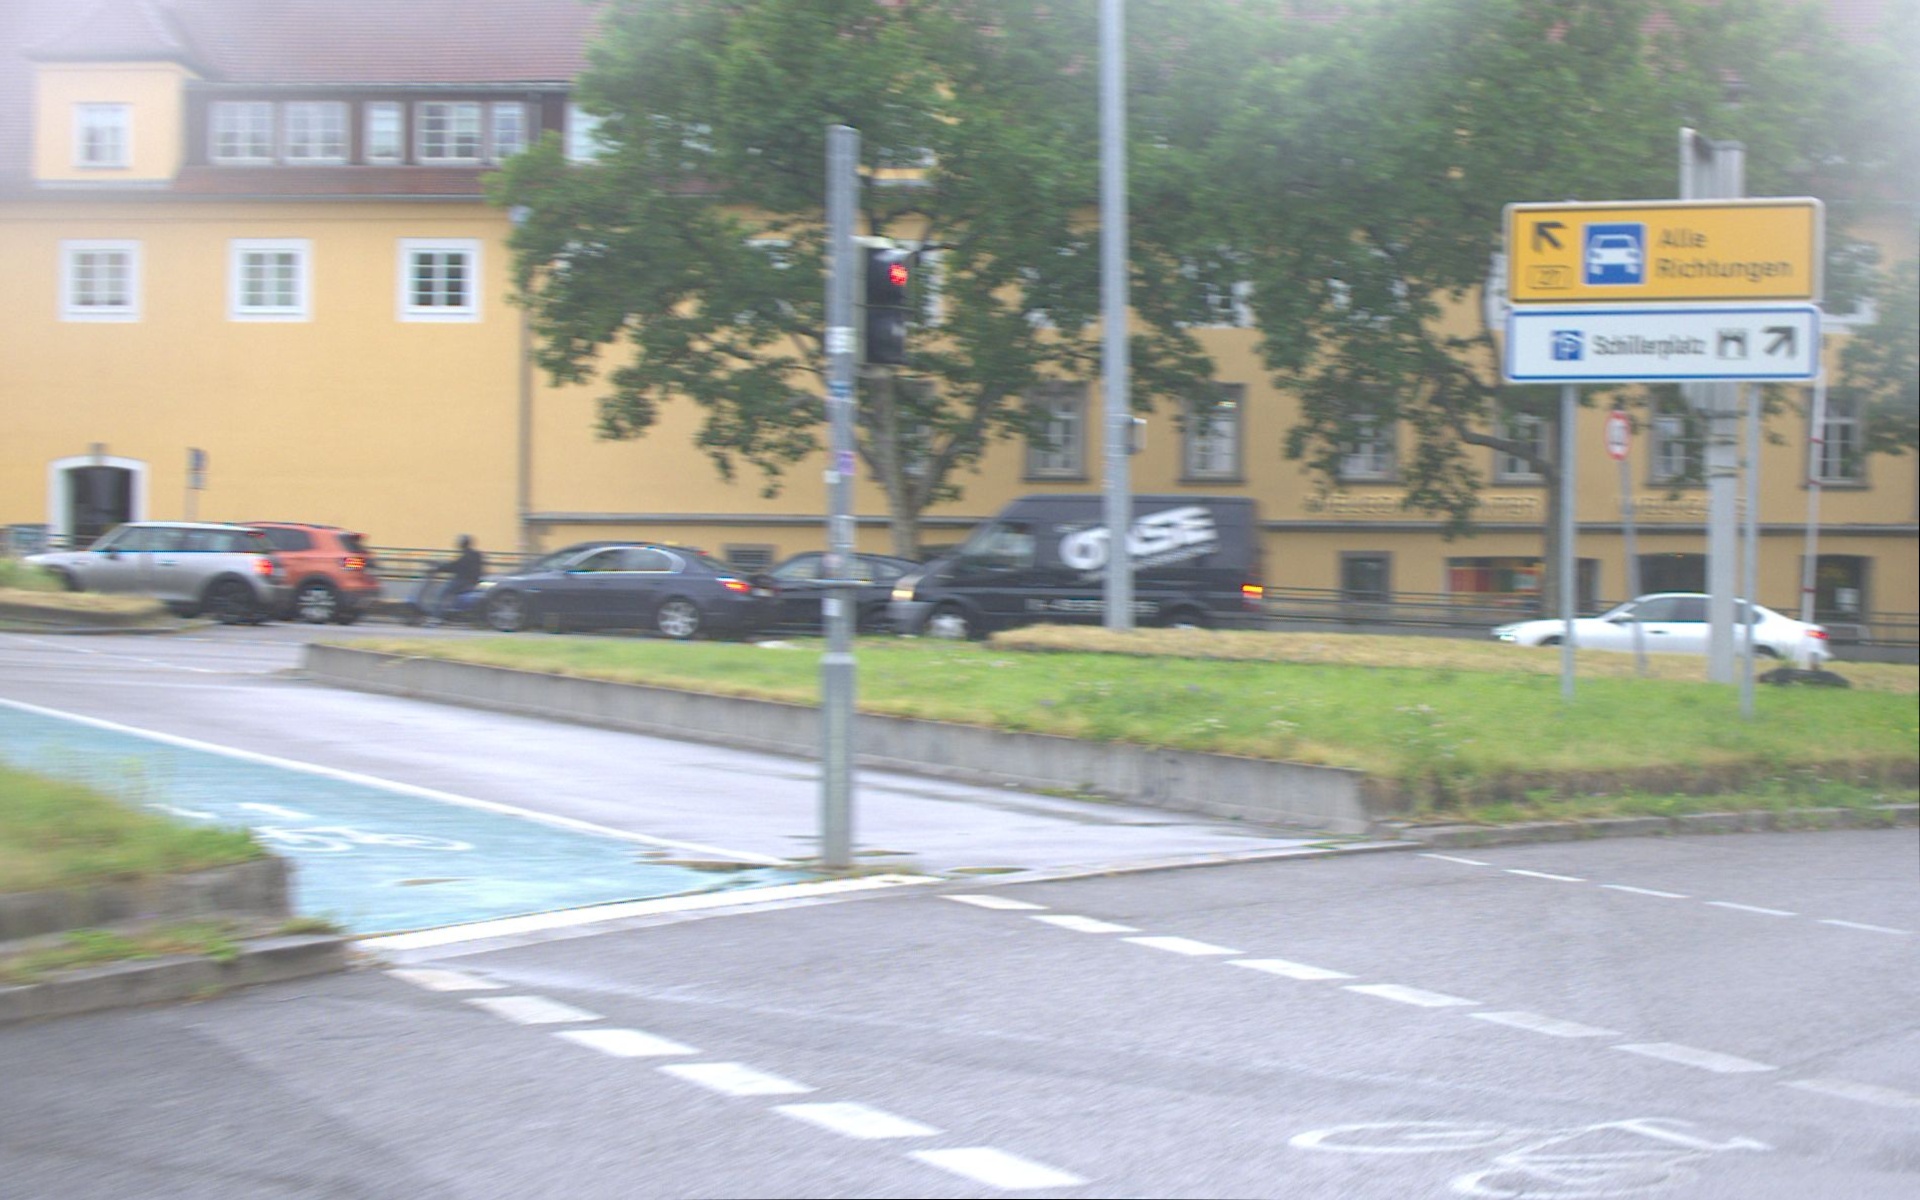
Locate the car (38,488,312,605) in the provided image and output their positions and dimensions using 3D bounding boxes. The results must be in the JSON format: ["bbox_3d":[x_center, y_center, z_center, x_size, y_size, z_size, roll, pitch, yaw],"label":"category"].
[{"bbox_3d":[-10.982,-0.729,48.261,3.401,1.477,1.835,2,-1,-1],"label":"car"}]

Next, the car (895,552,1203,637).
[{"bbox_3d":[1.306,-0.086,51.403,4.372,1.136,1.539,1,-1,30],"label":"car"}]

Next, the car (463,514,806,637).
[{"bbox_3d":[-4.985,-0.376,52.889,4.806,1.703,1.998,2,-1,16],"label":"car"}]

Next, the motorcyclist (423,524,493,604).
[{"bbox_3d":[-8.291,-0.589,56.787,1.075,1.269,0.692,2,-1,-6],"label":"motorcyclist"}]

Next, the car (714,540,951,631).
[{"bbox_3d":[-2.062,-0.232,56.216,3.596,1.332,1.577,2,-1,9],"label":"car"}]

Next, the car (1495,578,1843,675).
[{"bbox_3d":[11.291,0.430,55.007,5.287,1.357,1.557,2,-1,6],"label":"car"}]

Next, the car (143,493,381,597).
[{"bbox_3d":[-10.909,-0.844,53.880,3.399,1.467,1.653,2,-1,-3],"label":"car"}]

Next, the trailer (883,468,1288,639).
[{"bbox_3d":[1.785,-0.612,47.963,5.461,2.250,1.999,-1,-1,8],"label":"trailer"}]

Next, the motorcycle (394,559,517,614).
[{"bbox_3d":[-8.335,-0.221,56.838,1.963,0.850,0.546,2,-1,-5],"label":"motorcycle"}]
